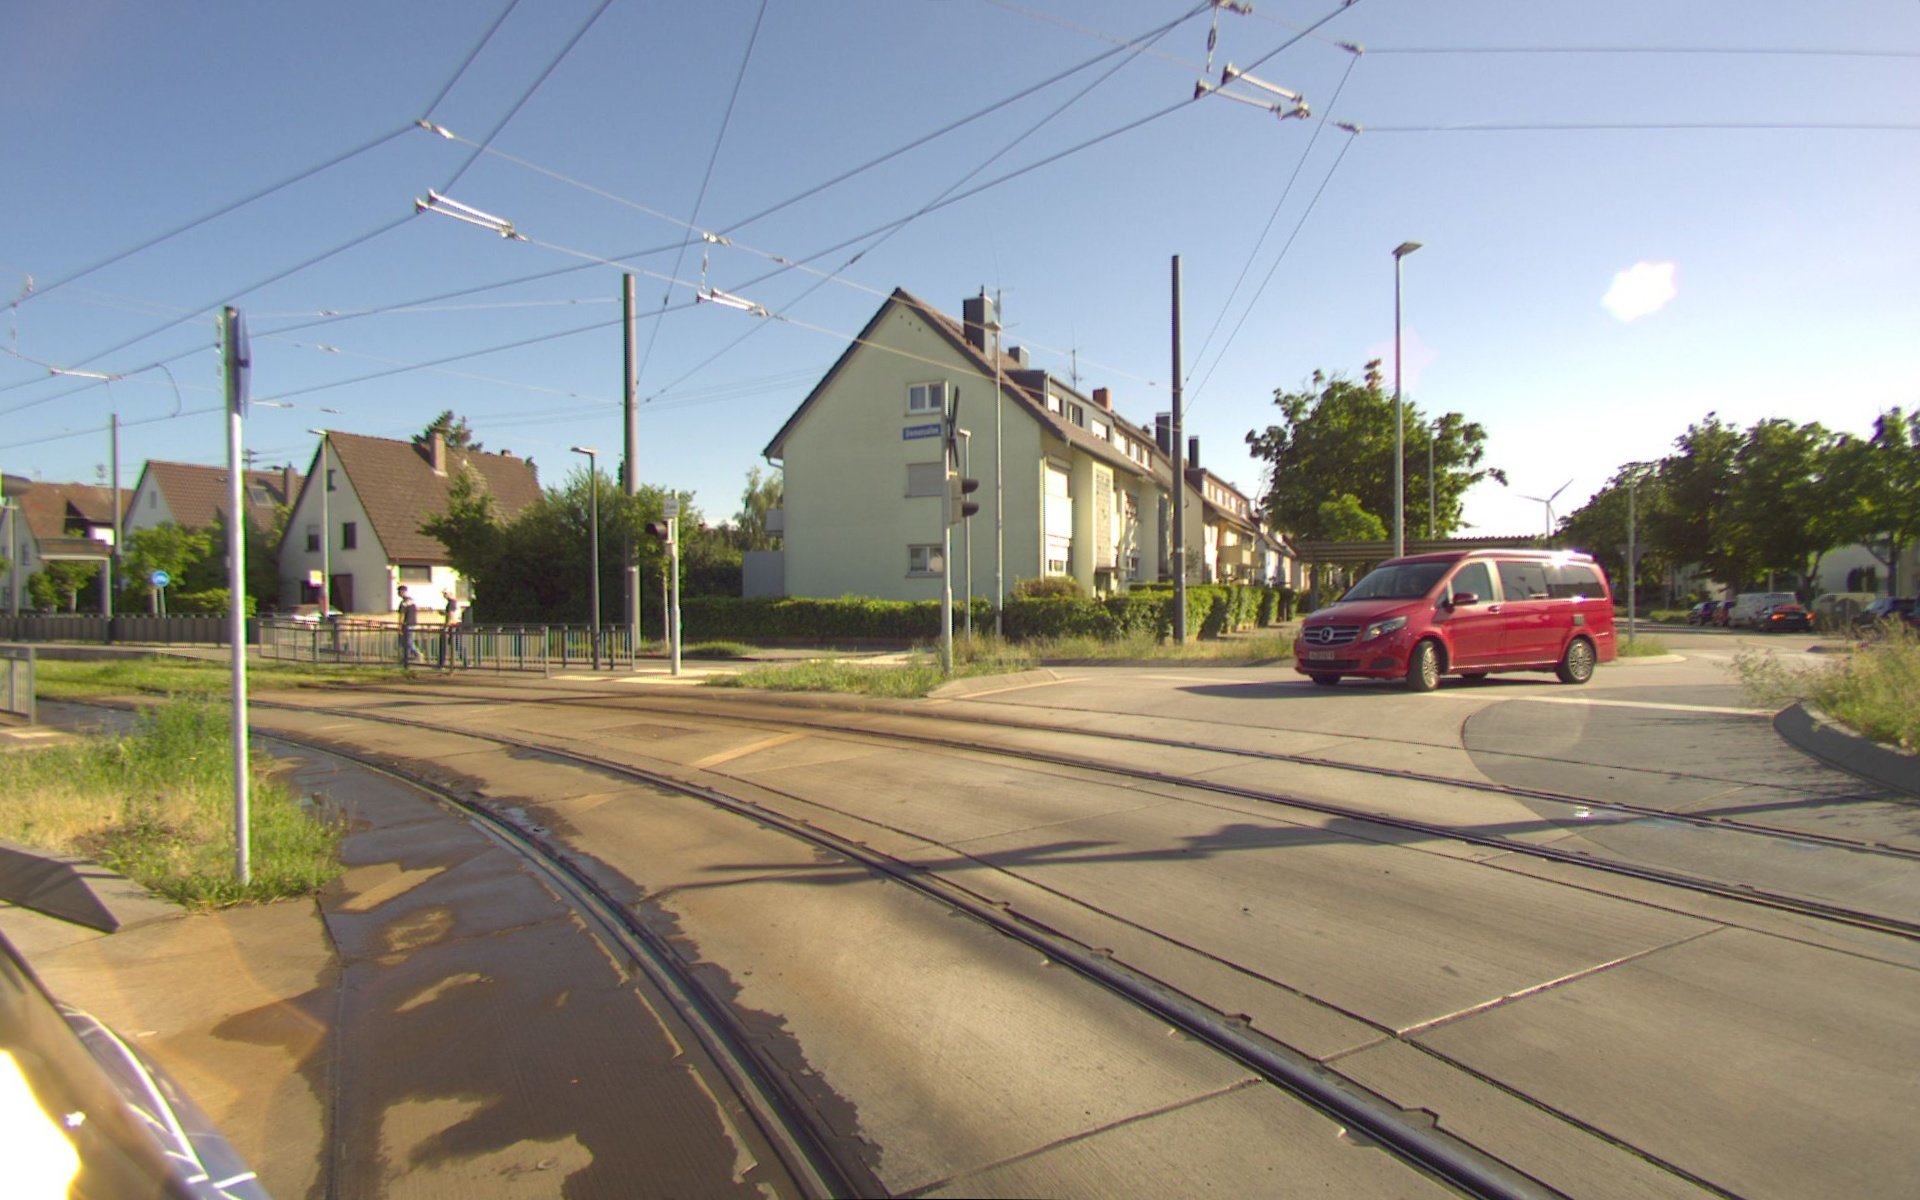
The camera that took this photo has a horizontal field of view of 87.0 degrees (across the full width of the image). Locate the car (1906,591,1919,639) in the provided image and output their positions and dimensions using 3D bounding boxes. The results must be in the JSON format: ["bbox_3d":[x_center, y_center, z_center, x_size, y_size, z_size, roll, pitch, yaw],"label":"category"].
[{"bbox_3d":[34.359,0.526,34.334,1.387,1.632,3.085,-2,2,-36],"label":"car"}]

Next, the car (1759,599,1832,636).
[{"bbox_3d":[40.790,0.820,49.512,1.915,1.628,4.244,-1,2,28],"label":"car"}]

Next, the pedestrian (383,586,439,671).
[{"bbox_3d":[-11.947,0.608,22.050,0.815,1.783,0.689,1,2,5],"label":"pedestrian"}]

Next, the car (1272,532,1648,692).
[{"bbox_3d":[7.260,0.084,14.650,5.147,1.996,2.007,-2,0,-24],"label":"car"}]

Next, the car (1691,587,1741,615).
[{"bbox_3d":[47.847,0.049,64.149,1.541,1.689,4.189,-1,0,23],"label":"car"}]

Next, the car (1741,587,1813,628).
[{"bbox_3d":[44.174,0.386,54.814,1.885,2.029,4.337,-1,2,23],"label":"car"}]

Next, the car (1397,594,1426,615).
[{"bbox_3d":[31.930,0.322,71.581,1.816,1.403,3.836,-1,-1,24],"label":"car"}]

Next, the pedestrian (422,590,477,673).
[{"bbox_3d":[-10.609,0.641,21.052,0.718,1.673,0.795,1,2,5],"label":"pedestrian"}]

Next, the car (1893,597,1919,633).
[{"bbox_3d":[37.064,0.567,37.785,1.362,1.307,3.168,-2,2,-40],"label":"car"}]

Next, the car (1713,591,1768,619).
[{"bbox_3d":[45.981,0.283,59.689,1.535,1.604,4.046,-1,0,23],"label":"car"}]

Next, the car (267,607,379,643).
[{"bbox_3d":[-29.438,1.127,46.867,1.990,1.546,3.955,-1,0,26],"label":"car"}]
